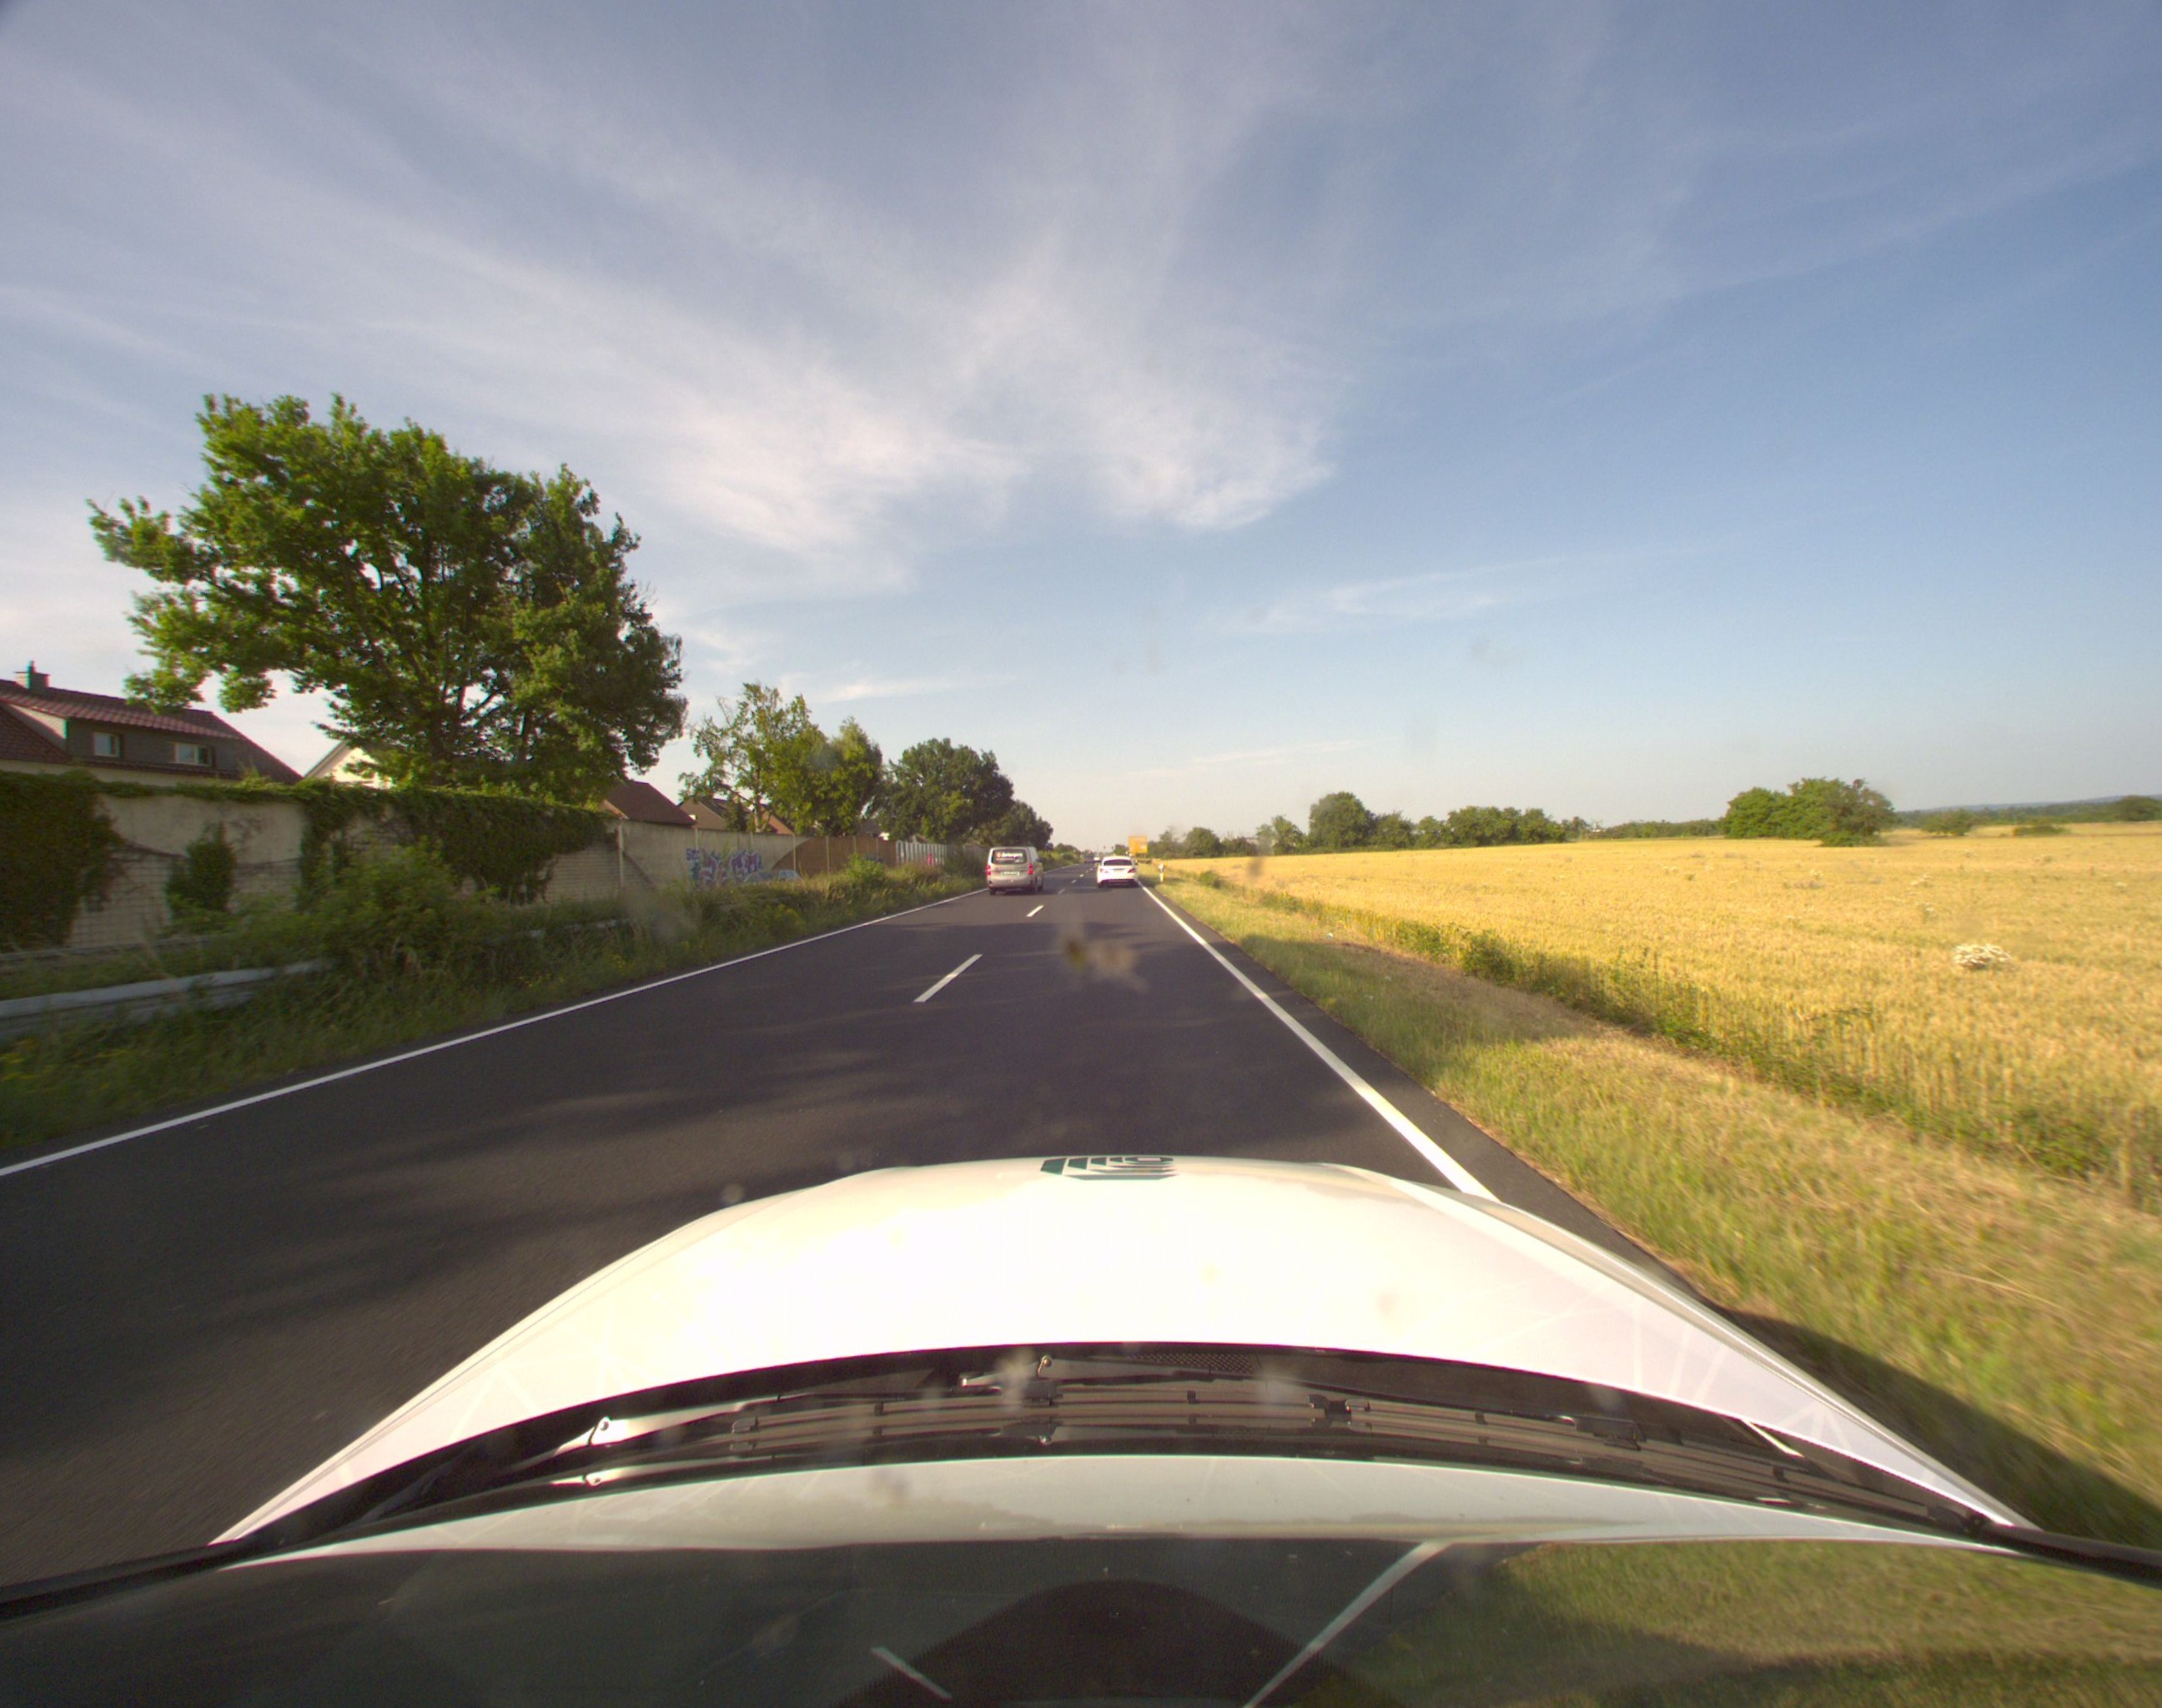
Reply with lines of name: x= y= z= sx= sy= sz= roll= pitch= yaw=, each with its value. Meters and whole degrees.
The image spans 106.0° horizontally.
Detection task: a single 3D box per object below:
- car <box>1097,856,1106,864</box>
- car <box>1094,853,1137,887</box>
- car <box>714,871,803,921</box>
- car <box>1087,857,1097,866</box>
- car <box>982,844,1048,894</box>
car: x=4.192 y=1.279 z=168.532 sx=1.871 sy=1.651 sz=3.664 roll=0 pitch=-1 yaw=1
car: x=1.596 y=0.726 z=38.122 sx=1.887 sy=1.509 sz=4.002 roll=-1 pitch=-1 yaw=2
car: x=-13.161 y=1.647 z=33.516 sx=1.828 sy=1.855 sz=4.366 roll=0 pitch=-1 yaw=1
car: x=1.892 y=1.359 z=141.790 sx=1.710 sy=1.492 sz=3.586 roll=0 pitch=-1 yaw=2
car: x=-2.585 y=0.561 z=33.199 sx=2.017 sy=1.892 sz=4.962 roll=0 pitch=0 yaw=3
